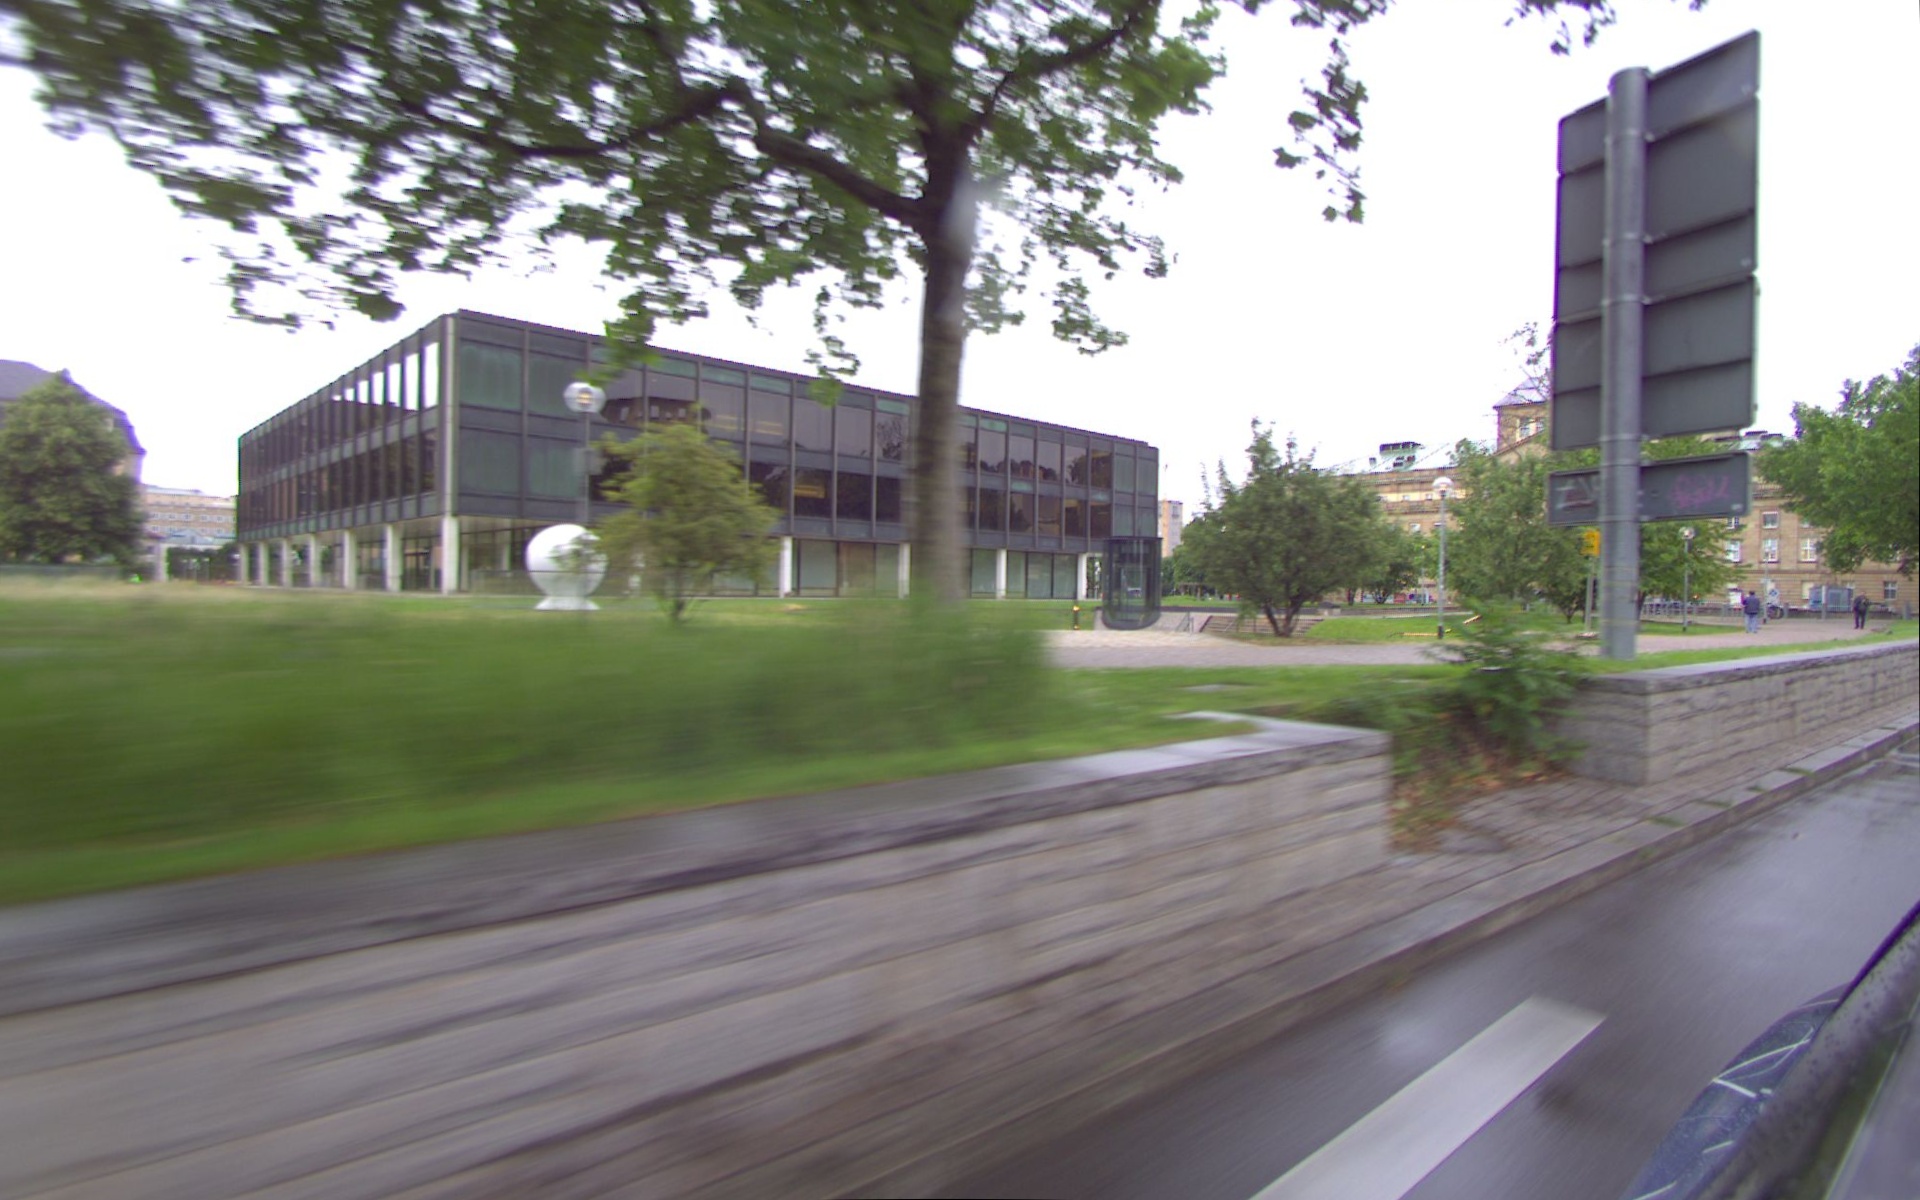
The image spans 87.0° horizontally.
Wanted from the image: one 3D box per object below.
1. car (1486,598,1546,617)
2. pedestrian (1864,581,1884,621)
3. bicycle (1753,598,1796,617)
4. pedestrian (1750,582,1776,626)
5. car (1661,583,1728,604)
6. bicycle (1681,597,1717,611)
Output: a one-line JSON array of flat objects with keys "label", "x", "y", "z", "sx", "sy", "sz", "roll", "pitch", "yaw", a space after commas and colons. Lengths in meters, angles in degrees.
[{"label": "car", "x": 48.534, "y": 0.677, "z": 88.373, "sx": 1.925, "sy": 1.614, "sz": 4.287, "roll": 0, "pitch": 0, "yaw": -44}, {"label": "pedestrian", "x": 41.311, "y": 0.061, "z": 45.746, "sx": 0.577, "sy": 1.796, "sz": 0.594, "roll": 0, "pitch": -1, "yaw": -41}, {"label": "bicycle", "x": 46.051, "y": 0.426, "z": 57.221, "sx": 1.740, "sy": 1.079, "sz": 0.820, "roll": -1, "pitch": 0, "yaw": 29}, {"label": "pedestrian", "x": 31.018, "y": 0.150, "z": 39.101, "sx": 0.665, "sy": 1.686, "sz": 0.582, "roll": 1, "pitch": 1, "yaw": 32}, {"label": "car", "x": 56.979, "y": -0.492, "z": 78.516, "sx": 1.925, "sy": 1.614, "sz": 3.939, "roll": 0, "pitch": 0, "yaw": -44}, {"label": "bicycle", "x": 41.757, "y": 0.226, "z": 57.199, "sx": 1.611, "sy": 0.806, "sz": 0.505, "roll": 1, "pitch": 0, "yaw": 29}]
